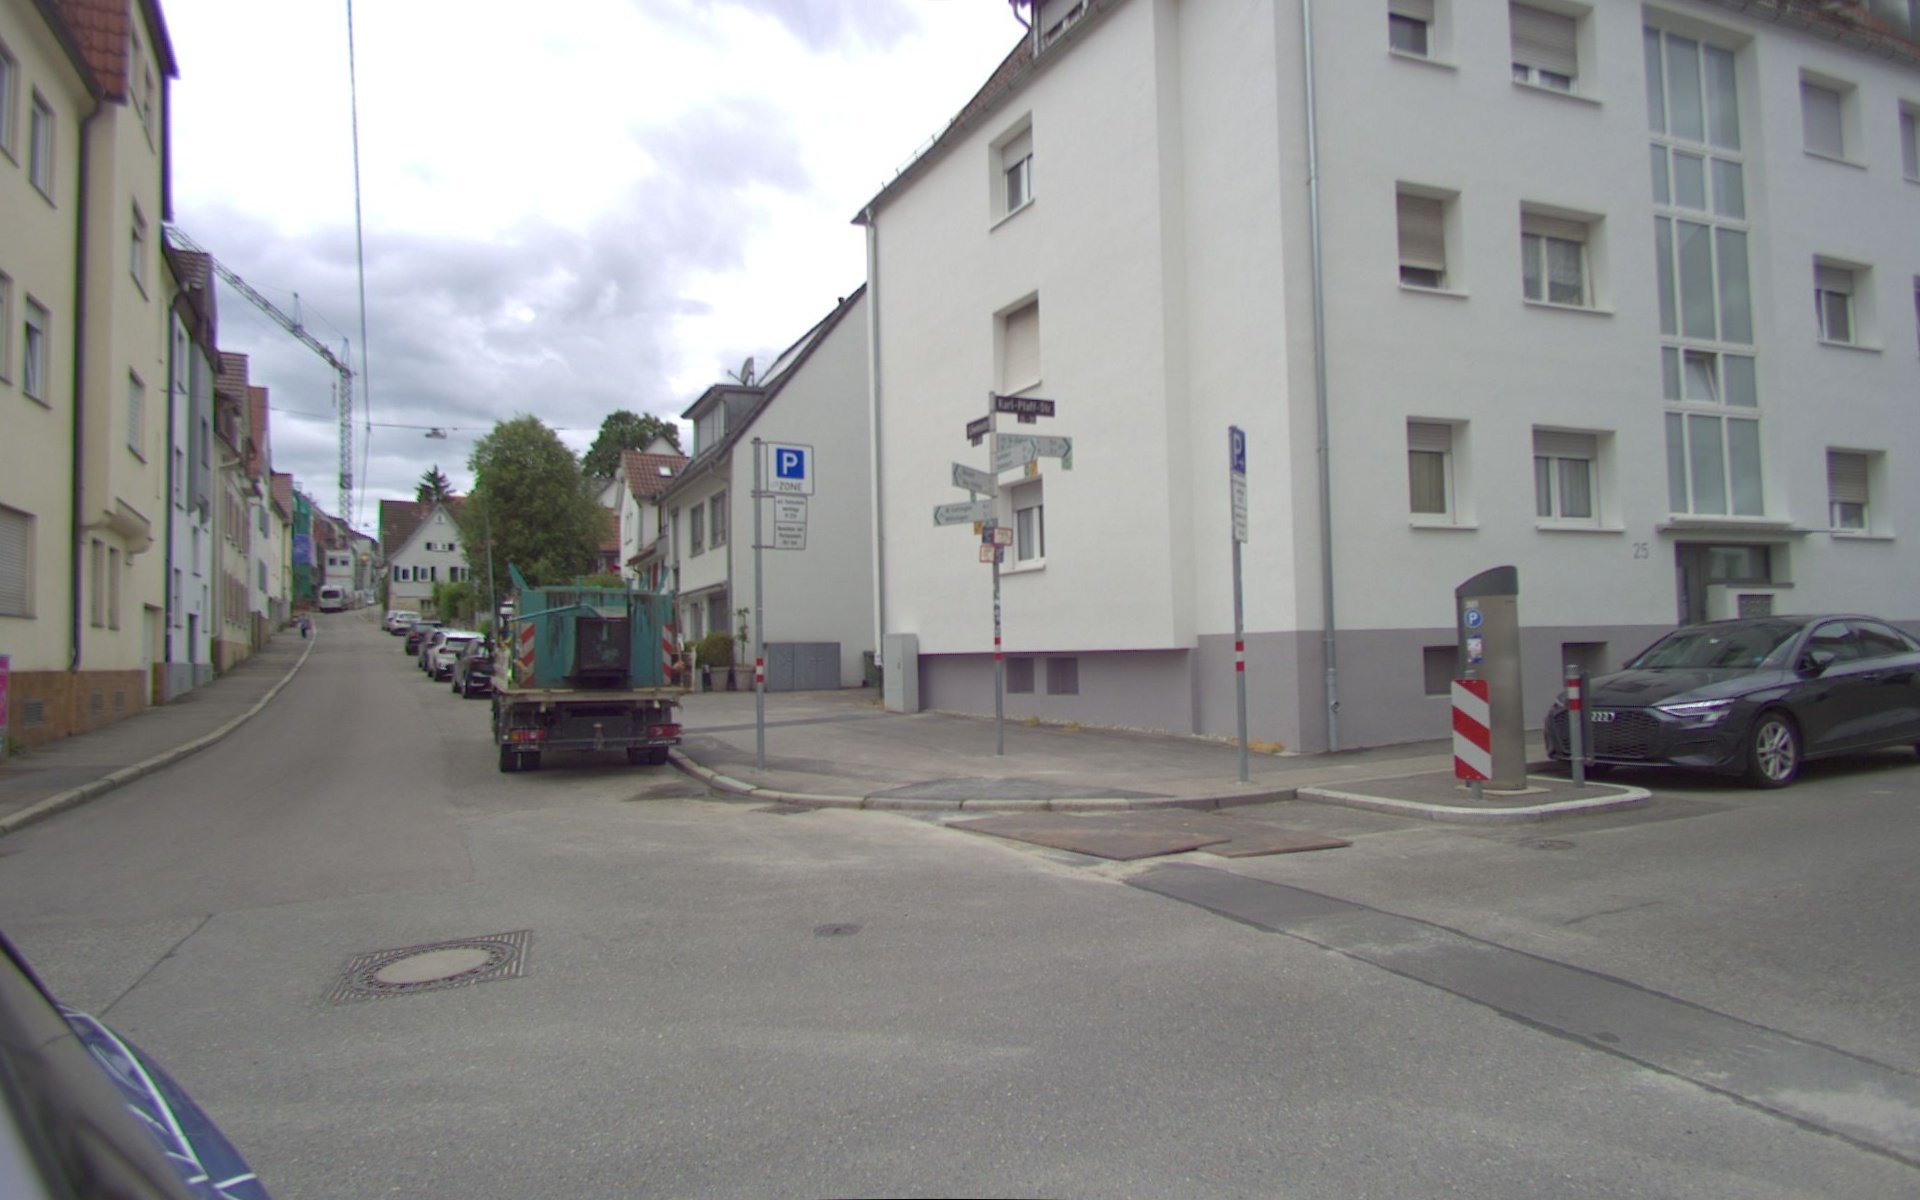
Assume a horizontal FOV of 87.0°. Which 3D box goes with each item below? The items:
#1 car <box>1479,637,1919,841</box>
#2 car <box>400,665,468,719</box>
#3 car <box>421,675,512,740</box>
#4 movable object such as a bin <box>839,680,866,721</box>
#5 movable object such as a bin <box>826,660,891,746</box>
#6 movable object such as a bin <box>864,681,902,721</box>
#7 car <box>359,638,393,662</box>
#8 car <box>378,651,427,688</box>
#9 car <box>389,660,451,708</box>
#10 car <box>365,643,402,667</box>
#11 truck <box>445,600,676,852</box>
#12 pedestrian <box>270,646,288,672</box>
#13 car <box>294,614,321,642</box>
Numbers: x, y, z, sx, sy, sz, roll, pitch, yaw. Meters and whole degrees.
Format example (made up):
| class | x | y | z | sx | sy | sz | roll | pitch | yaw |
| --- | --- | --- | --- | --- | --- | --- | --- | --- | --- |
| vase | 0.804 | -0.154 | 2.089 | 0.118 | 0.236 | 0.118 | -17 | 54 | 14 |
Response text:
| class | x | y | z | sx | sy | sz | roll | pitch | yaw |
| --- | --- | --- | --- | --- | --- | --- | --- | --- | --- |
| car | 7.160 | 1.136 | 9.313 | 4.223 | 1.402 | 1.832 | -2 | -4 | -22 |
| car | -17.907 | 3.066 | 34.377 | 1.824 | 1.663 | 3.957 | 2 | -3 | -31 |
| car | -13.196 | 2.799 | 26.943 | 1.824 | 1.475 | 3.957 | 2 | -3 | -31 |
| movable object such as a bin | -2.918 | 2.710 | 27.460 | 0.558 | 1.064 | 0.817 | 1 | -4 | -19 |
| movable object such as a bin | -2.039 | 2.033 | 20.316 | 0.994 | 1.630 | 1.005 | 1 | -3 | -27 |
| movable object such as a bin | -2.116 | 2.752 | 27.657 | 0.843 | 1.064 | 0.894 | 1 | -4 | -19 |
| car | -40.669 | 3.484 | 70.455 | 1.825 | 1.460 | 3.957 | 2 | -1 | -33 |
| car | -27.376 | 3.383 | 49.670 | 1.825 | 1.663 | 3.957 | 2 | -2 | -33 |
| car | -21.363 | 3.249 | 39.977 | 1.825 | 1.663 | 3.957 | 2 | -2 | -33 |
| car | -37.288 | 3.529 | 65.435 | 1.825 | 1.460 | 3.957 | 2 | -2 | -33 |
| truck | -5.668 | 1.496 | 13.720 | 2.278 | 2.571 | 6.307 | 1 | -4 | -27 |
| pedestrian | -39.734 | 3.452 | 59.051 | 0.745 | 1.500 | 0.567 | 1 | -3 | -45 |
| car | -64.966 | 2.748 | 100.820 | 2.158 | 2.666 | 5.843 | 2 | -2 | -32 |
